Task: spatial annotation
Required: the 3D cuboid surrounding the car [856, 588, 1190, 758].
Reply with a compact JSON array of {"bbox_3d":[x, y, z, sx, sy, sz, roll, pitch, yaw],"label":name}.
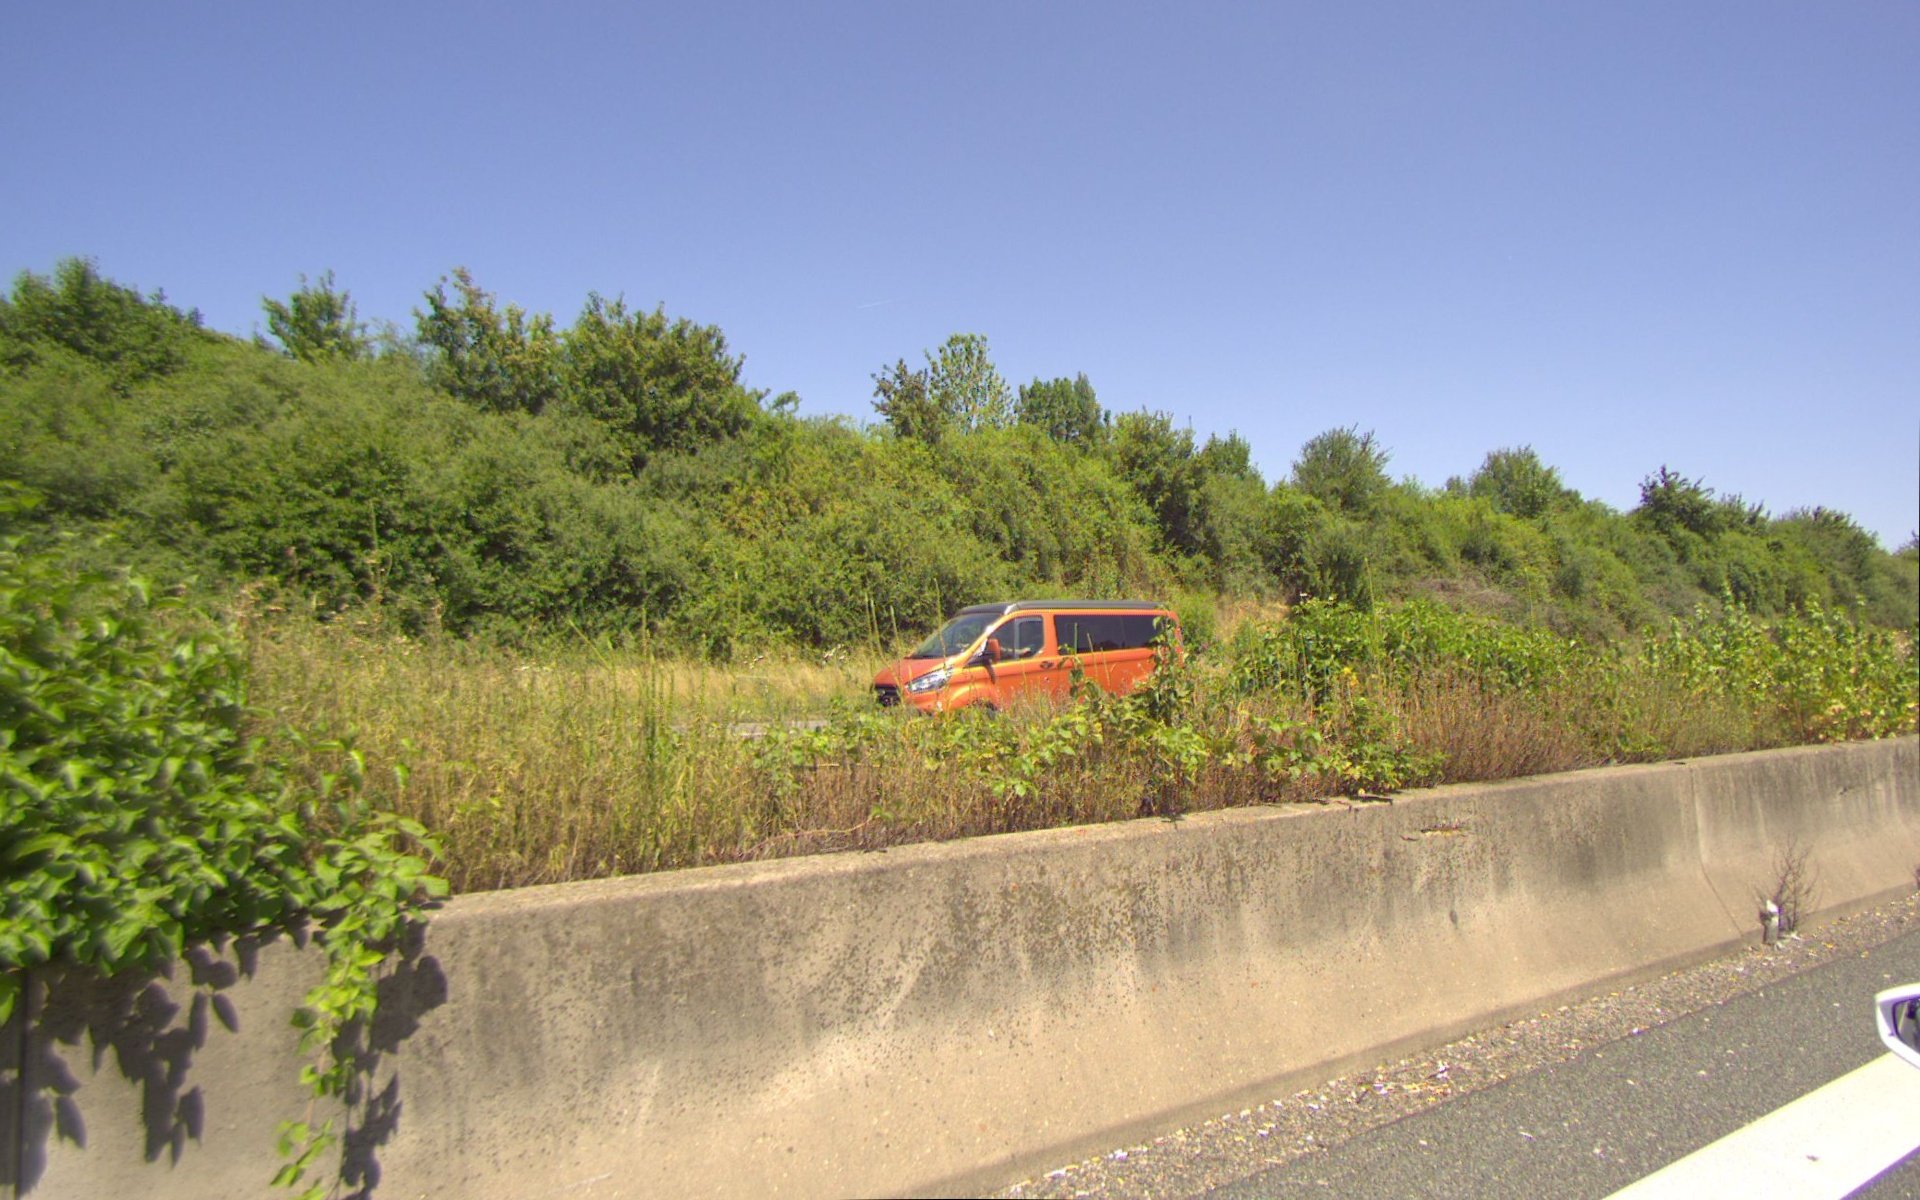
[{"bbox_3d":[0.968,0.990,14.618,4.554,2.124,1.984,1,-2,-31],"label":"car"}]
